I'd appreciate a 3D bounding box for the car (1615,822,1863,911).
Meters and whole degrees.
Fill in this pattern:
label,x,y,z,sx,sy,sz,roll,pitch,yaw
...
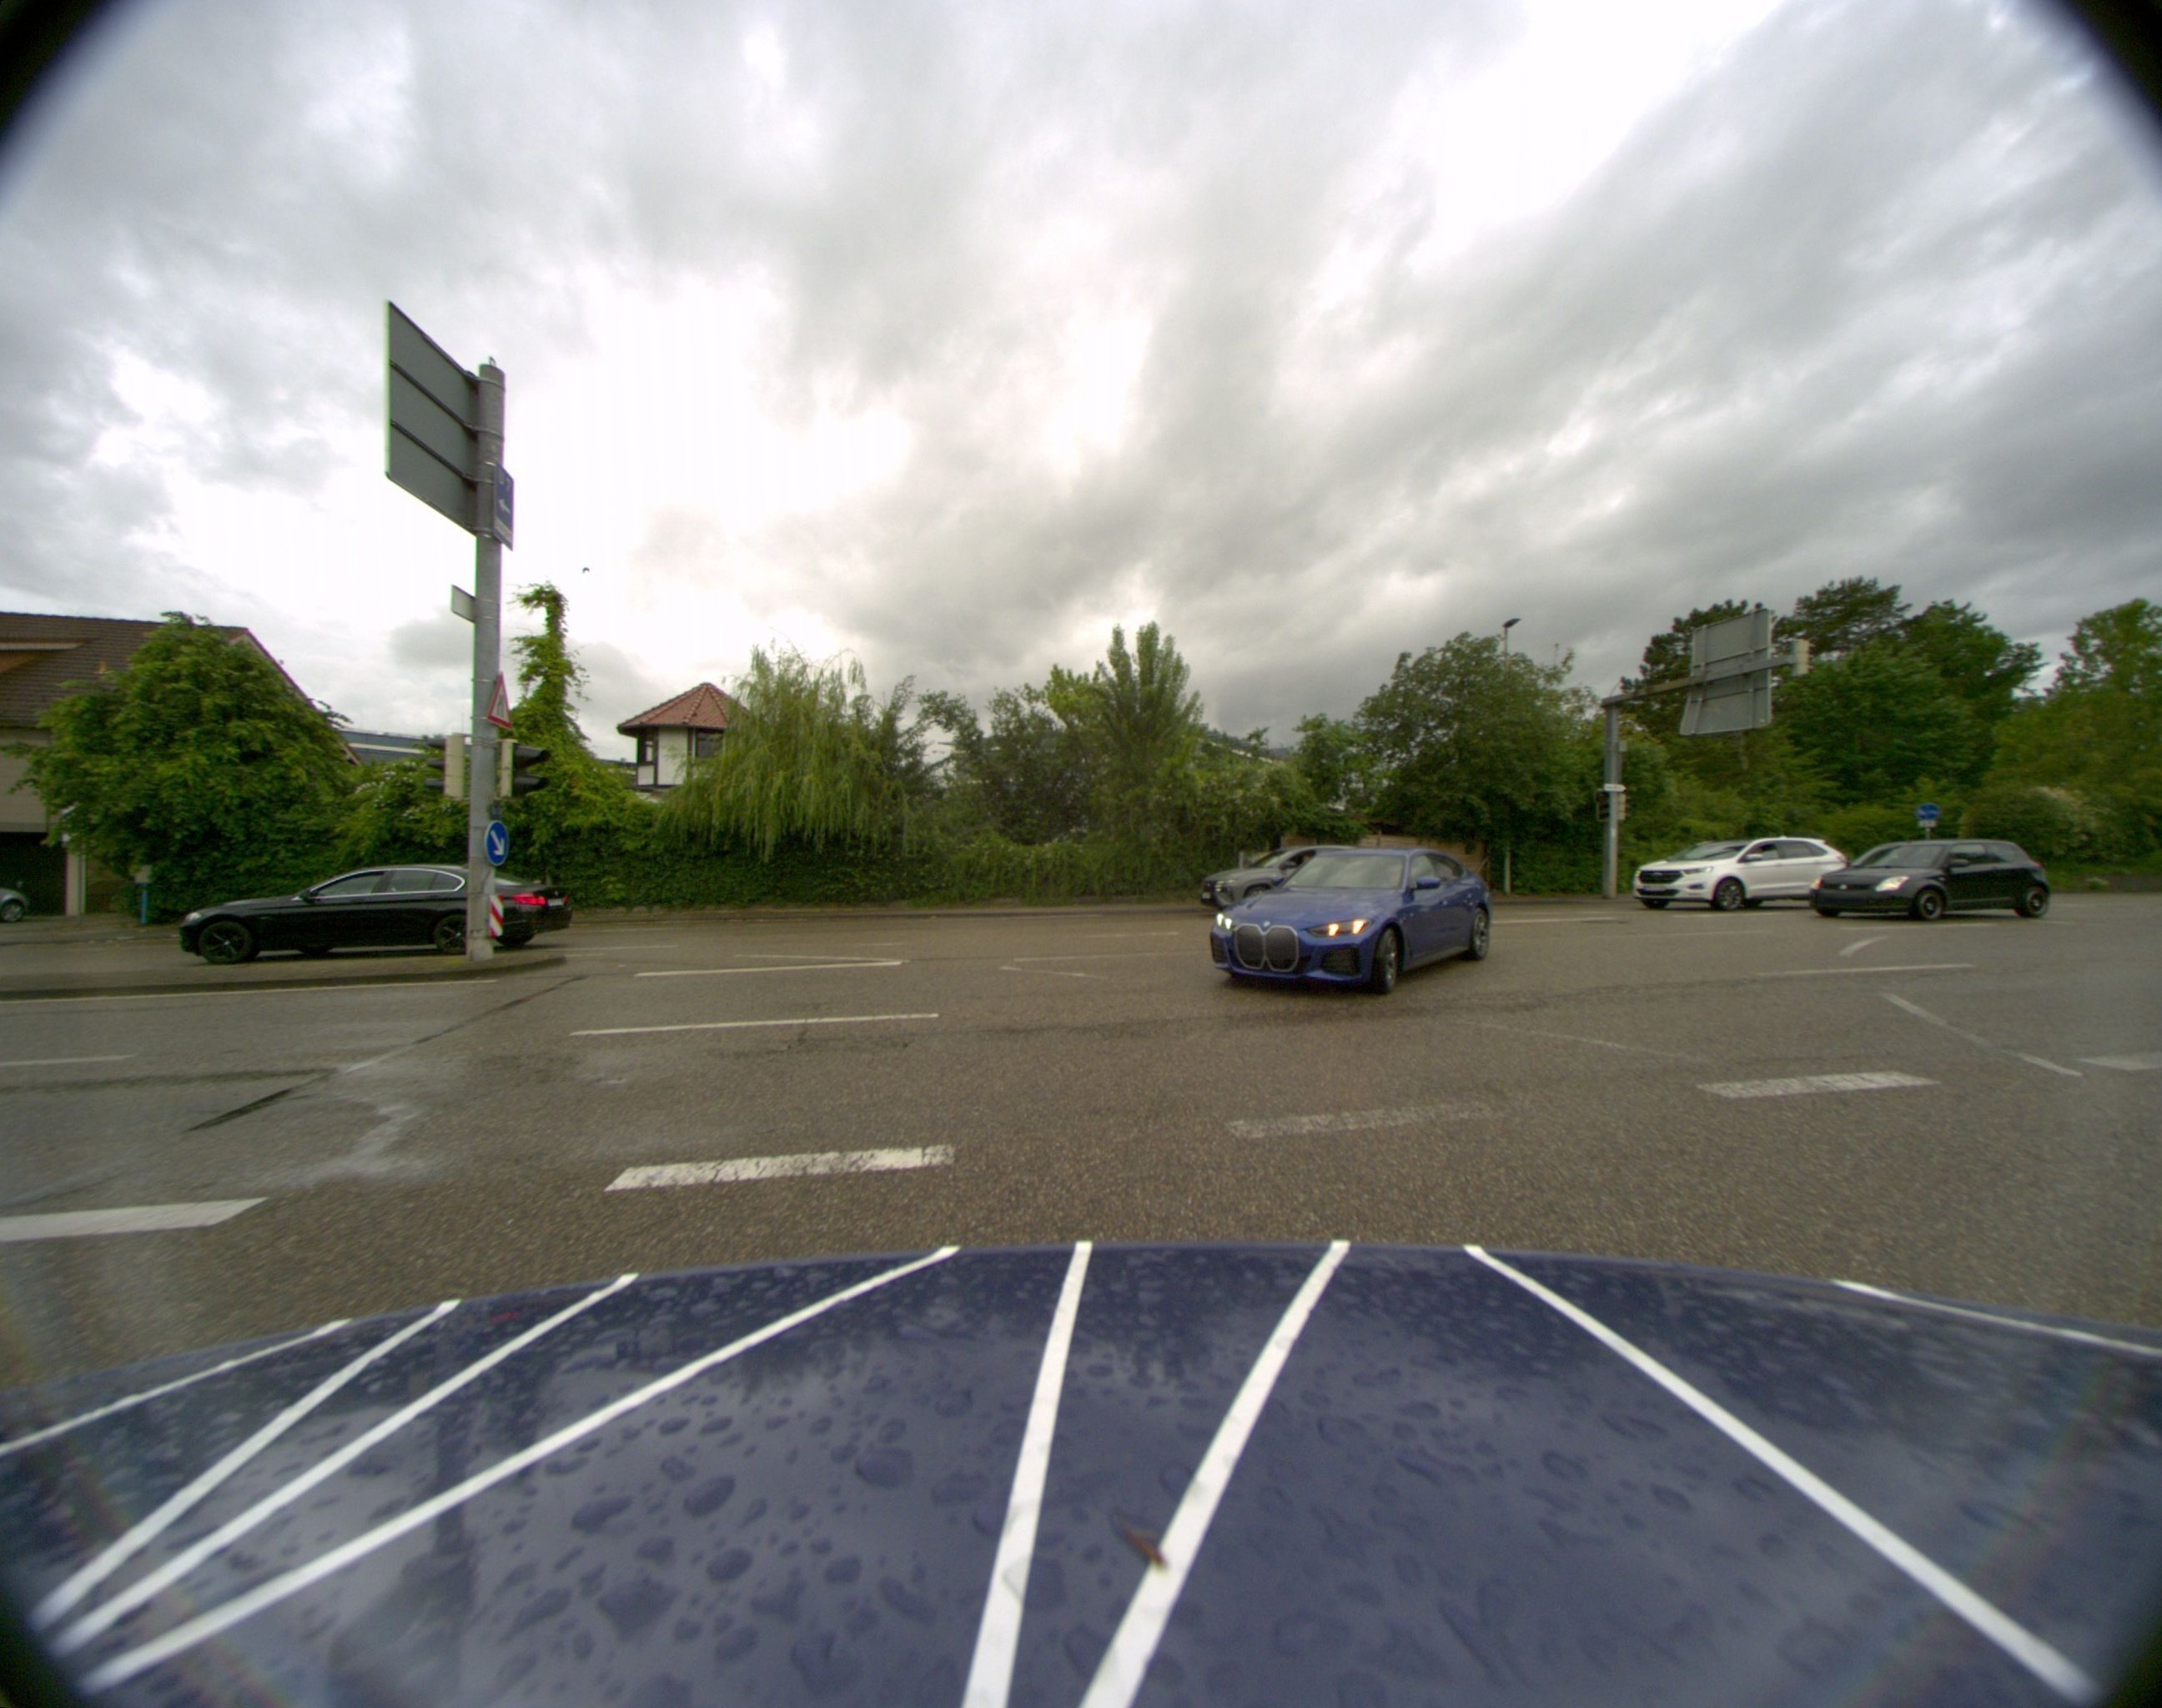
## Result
label,x,y,z,sx,sy,sz,roll,pitch,yaw
car,15.450,0.257,17.924,4.679,1.780,1.998,-2,1,-12

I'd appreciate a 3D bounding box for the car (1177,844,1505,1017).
label,x,y,z,sx,sy,sz,roll,pitch,yaw
car,3.257,0.668,8.975,4.357,1.487,1.909,-2,1,-44

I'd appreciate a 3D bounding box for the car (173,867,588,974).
label,x,y,z,sx,sy,sz,roll,pitch,yaw
car,-11.107,0.989,12.475,4.604,1.444,1.998,-1,1,-12

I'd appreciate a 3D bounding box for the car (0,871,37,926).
label,x,y,z,sx,sy,sz,roll,pitch,yaw
car,-30.315,1.262,19.753,1.771,1.446,3.568,0,2,-12

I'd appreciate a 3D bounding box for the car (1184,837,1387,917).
label,x,y,z,sx,sy,sz,roll,pitch,yaw
car,4.885,0.499,18.324,4.336,1.630,1.904,-2,1,-15

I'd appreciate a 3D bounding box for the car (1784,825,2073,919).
label,x,y,z,sx,sy,sz,roll,pitch,yaw
car,16.120,0.303,14.547,3.999,1.510,1.746,-2,1,-8
